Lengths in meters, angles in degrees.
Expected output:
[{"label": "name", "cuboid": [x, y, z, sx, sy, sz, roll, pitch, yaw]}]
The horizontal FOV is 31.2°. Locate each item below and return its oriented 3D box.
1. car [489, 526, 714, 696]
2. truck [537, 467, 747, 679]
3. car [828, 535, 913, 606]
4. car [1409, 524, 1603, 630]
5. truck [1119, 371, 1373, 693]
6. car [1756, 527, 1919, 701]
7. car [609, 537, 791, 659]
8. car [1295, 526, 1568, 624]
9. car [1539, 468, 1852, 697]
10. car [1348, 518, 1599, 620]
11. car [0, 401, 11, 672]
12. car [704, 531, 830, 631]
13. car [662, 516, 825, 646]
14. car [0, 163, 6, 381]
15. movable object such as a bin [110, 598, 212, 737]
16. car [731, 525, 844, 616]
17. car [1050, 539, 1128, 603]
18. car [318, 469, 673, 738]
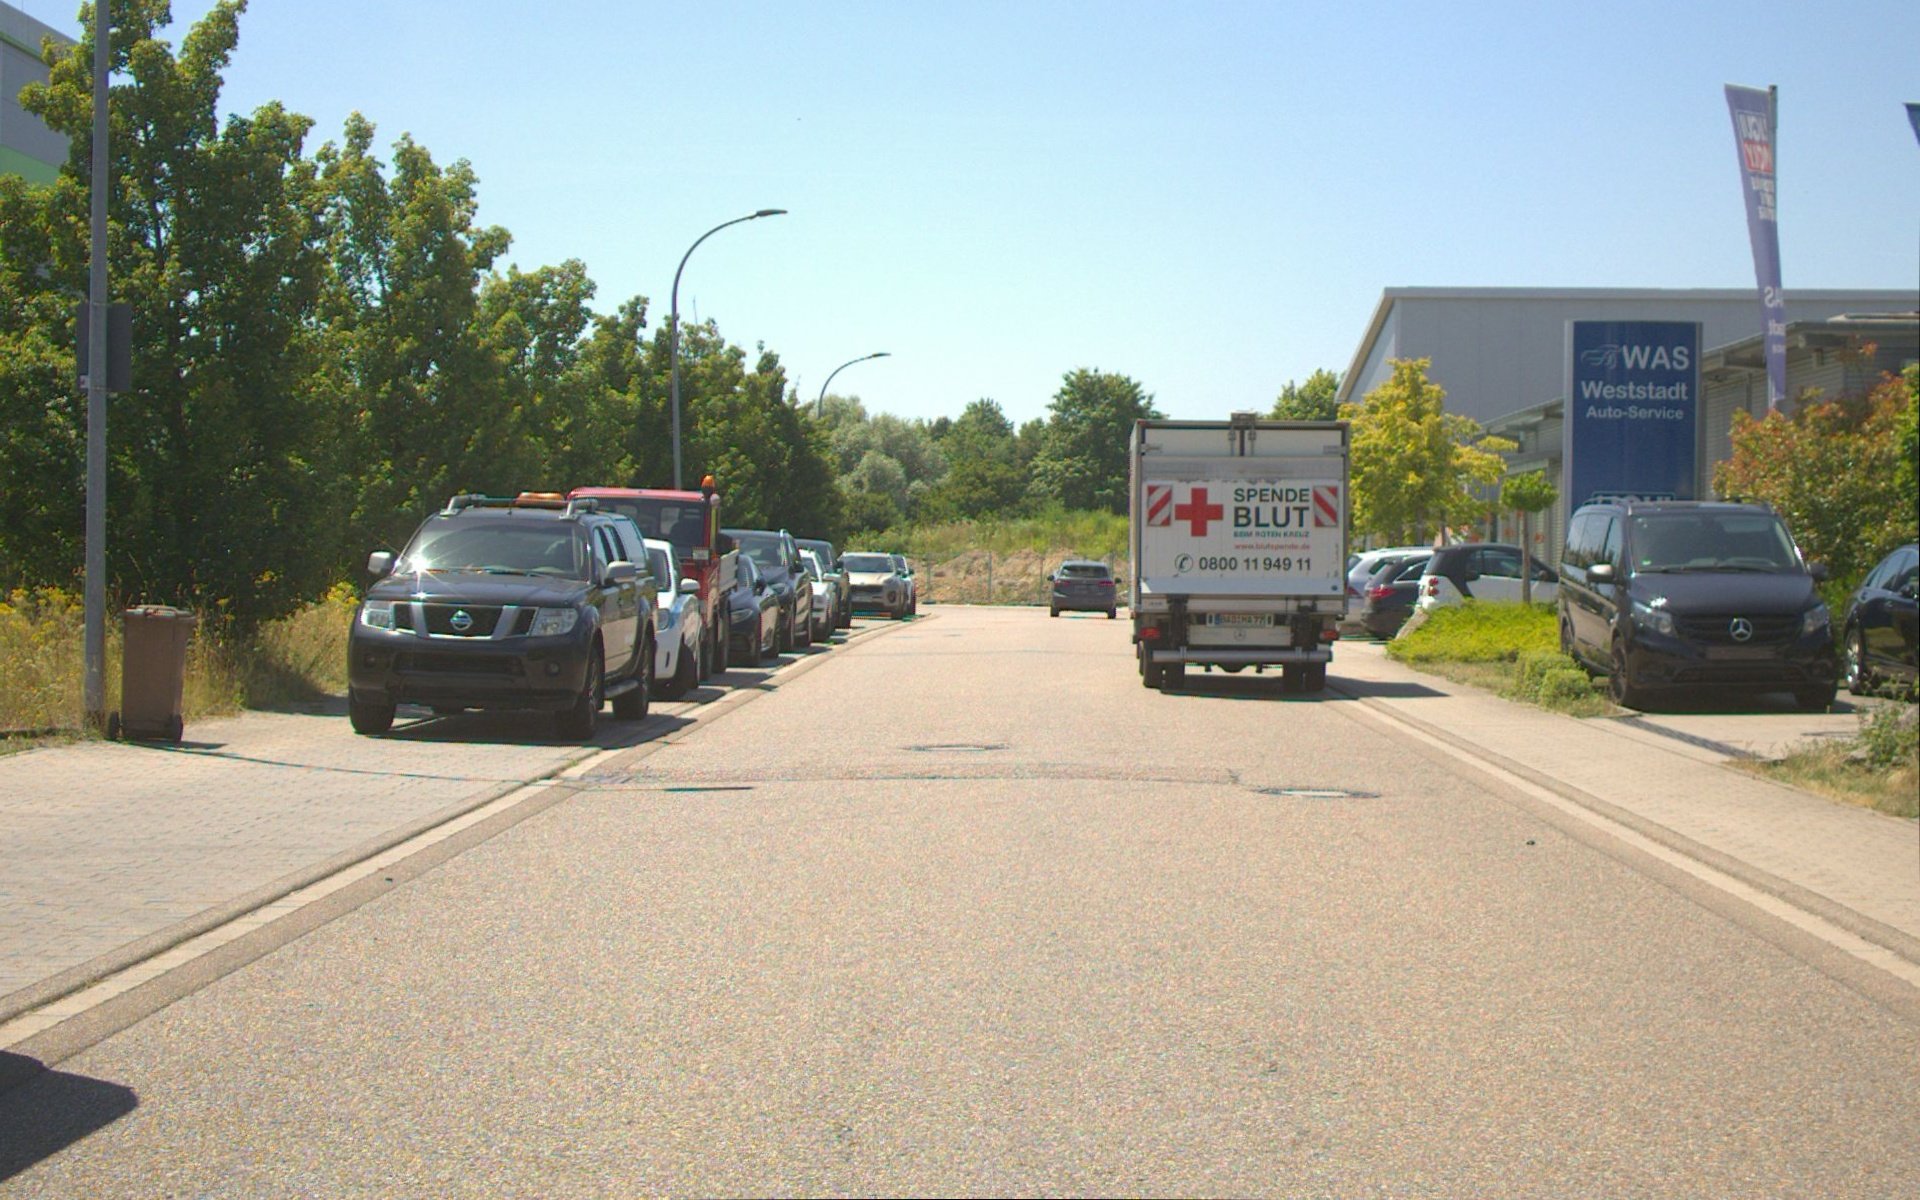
[{"label": "car", "cuboid": [-3.526, 0.073, 34.393, 1.851, 1.545, 3.767, 2, 1, -1]}, {"label": "truck", "cuboid": [-3.557, -0.329, 39.182, 1.851, 2.215, 4.646, 2, 1, 1]}, {"label": "car", "cuboid": [-2.173, -0.741, 84.909, 1.912, 1.707, 4.413, 0, 1, 1]}, {"label": "car", "cuboid": [8.132, -0.353, 51.346, 2.706, 1.536, 1.412, -1, 1, 3]}, {"label": "truck", "cuboid": [3.083, -0.769, 38.557, 2.457, 3.194, 6.882, 2, 1, 3]}, {"label": "car", "cuboid": [8.998, 0.092, 32.543, 1.993, 1.531, 4.590, 0, 1, 2]}, {"label": "car", "cuboid": [-3.311, -0.060, 44.614, 1.851, 1.438, 4.753, 2, 1, 1]}, {"label": "car", "cuboid": [7.701, -0.423, 56.428, 4.280, 1.536, 1.913, -1, 1, 3]}, {"label": "car", "cuboid": [6.874, -0.199, 32.716, 1.993, 2.007, 5.336, 0, 1, 2]}, {"label": "car", "cuboid": [8.007, -0.489, 53.850, 3.692, 1.536, 1.913, -1, 1, 3]}, {"label": "car", "cuboid": [-13.332, -0.721, 36.144, 5.974, 2.915, 2.521, 1, 1, 1]}, {"label": "car", "cuboid": [-3.100, -0.340, 56.078, 1.851, 1.514, 4.905, 2, 1, -1]}, {"label": "car", "cuboid": [-3.113, -0.301, 50.330, 1.851, 1.752, 4.987, 2, 1, 2]}, {"label": "car", "cuboid": [-4.164, 0.007, 7.280, 2.323, 2.590, 6.085, 2, 1, 2]}, {"label": "movable object such as a bin", "cuboid": [-5.635, 0.468, 24.267, 0.547, 0.947, 0.683, 1, 1, 0]}, {"label": "car", "cuboid": [-3.068, -0.552, 61.996, 1.851, 1.514, 5.167, 2, 1, -1]}, {"label": "car", "cuboid": [3.539, -0.818, 95.181, 1.912, 1.707, 4.031, 0, 1, -1]}, {"label": "car", "cuboid": [-3.612, -0.020, 27.734, 1.974, 1.894, 5.402, 2, 1, 1]}]
